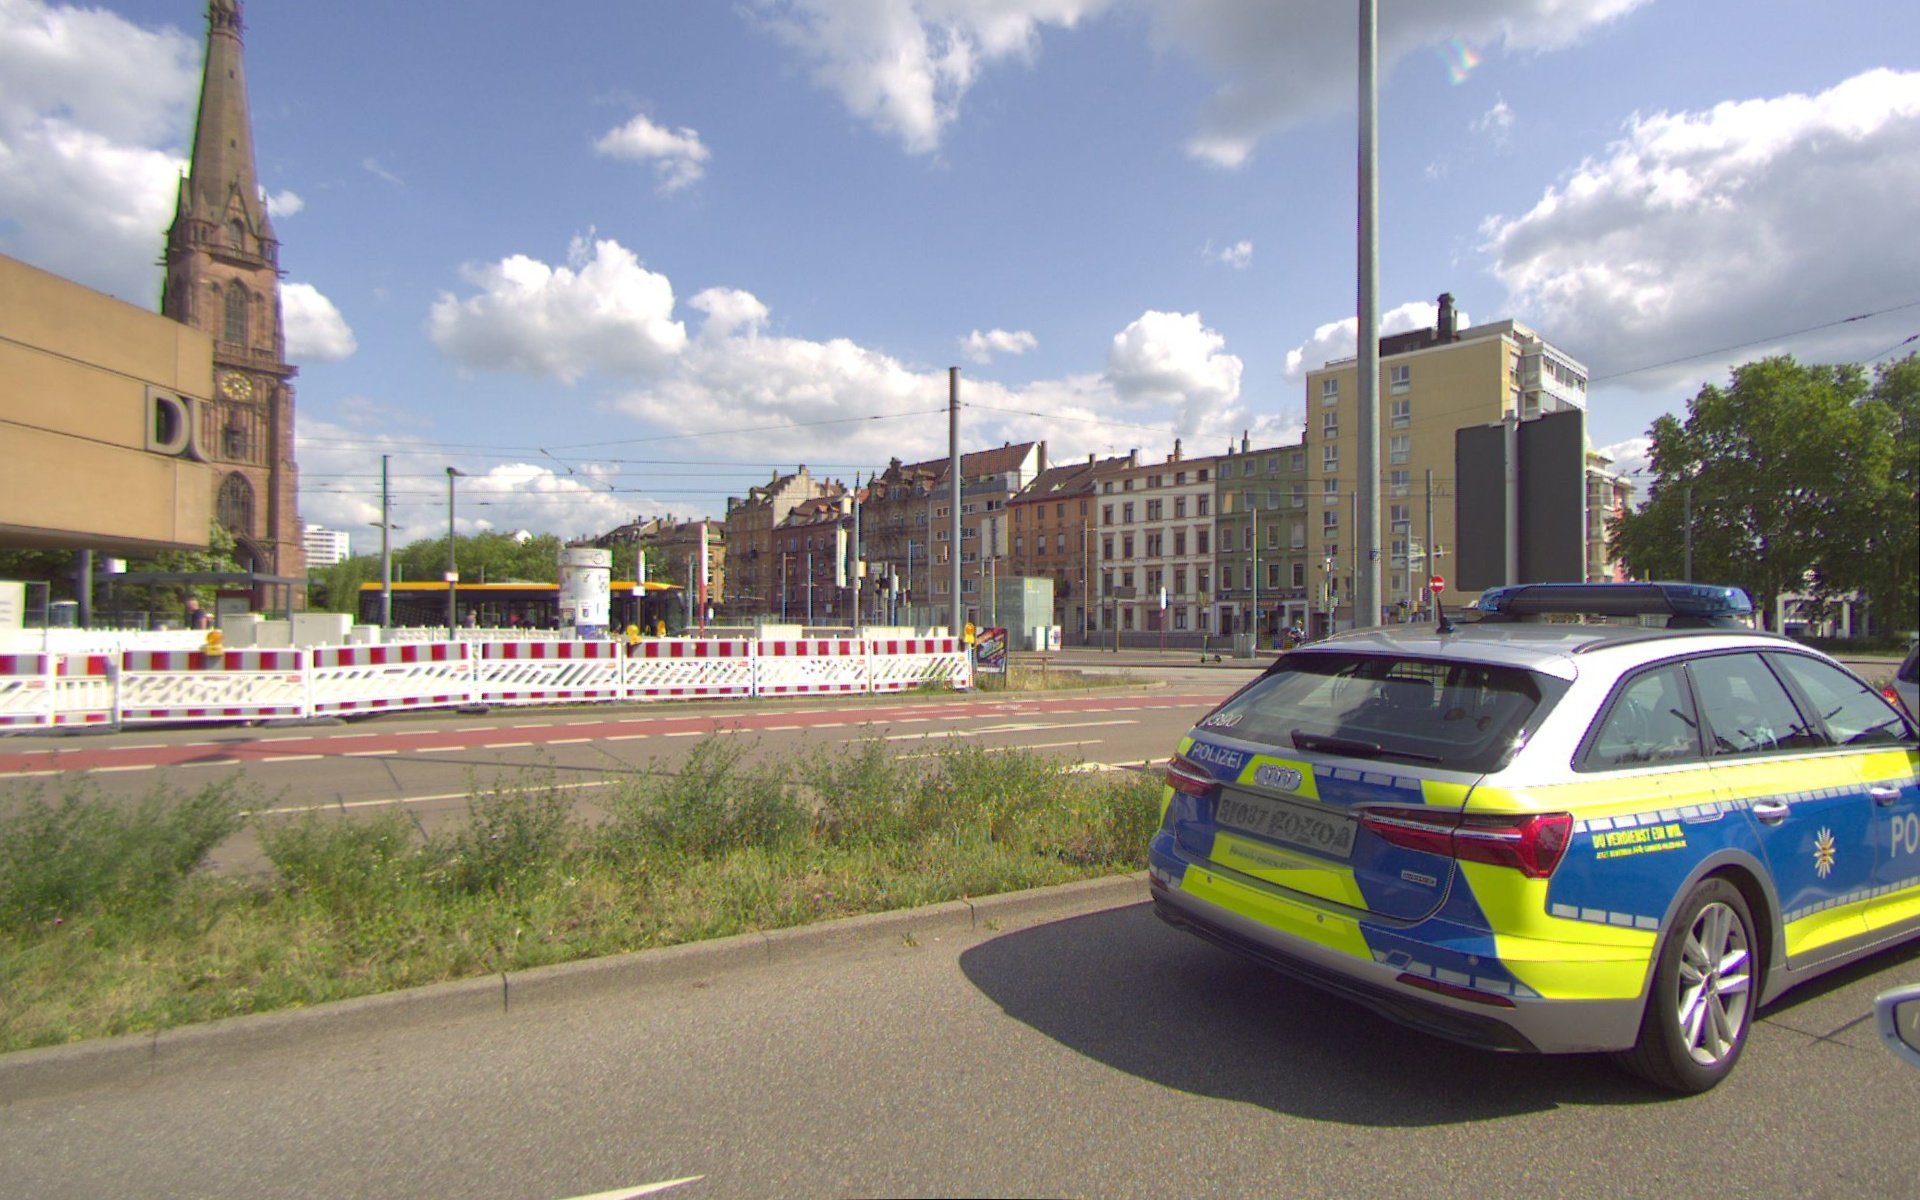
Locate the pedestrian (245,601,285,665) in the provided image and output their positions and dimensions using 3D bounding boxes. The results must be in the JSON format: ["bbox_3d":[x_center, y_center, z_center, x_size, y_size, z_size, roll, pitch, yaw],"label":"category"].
[{"bbox_3d":[-18.347,0.865,26.521,0.549,1.651,0.732,1,-1,-7],"label":"pedestrian"}]

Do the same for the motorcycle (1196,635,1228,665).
[{"bbox_3d":[10.610,2.104,42.334,0.478,1.253,1.437,2,-2,-27],"label":"motorcycle"}]

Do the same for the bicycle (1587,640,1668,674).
[{"bbox_3d":[24.560,2.074,37.020,0.984,1.204,2.281,2,-3,-32],"label":"bicycle"}]

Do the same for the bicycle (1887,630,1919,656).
[{"bbox_3d":[54.438,2.447,57.376,0.807,1.433,2.146,0,0,-44],"label":"bicycle"}]

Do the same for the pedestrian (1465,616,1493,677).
[{"bbox_3d":[16.879,1.505,32.660,0.753,1.928,0.825,2,0,29],"label":"pedestrian"}]

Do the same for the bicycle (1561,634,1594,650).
[{"bbox_3d":[44.779,3.030,72.829,1.922,1.162,0.792,0,-1,43],"label":"bicycle"}]

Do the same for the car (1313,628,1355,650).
[{"bbox_3d":[27.318,2.849,73.557,1.861,1.516,3.902,1,-2,4],"label":"car"}]

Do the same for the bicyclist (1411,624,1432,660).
[{"bbox_3d":[24.471,2.217,53.249,0.768,1.821,0.706,2,0,41],"label":"bicyclist"}]

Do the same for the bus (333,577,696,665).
[{"bbox_3d":[-16.790,0.805,38.421,12.586,3.177,2.835,0,-1,1],"label":"bus"}]

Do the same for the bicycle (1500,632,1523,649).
[{"bbox_3d":[40.701,2.978,74.106,1.791,1.275,0.789,1,-1,-34],"label":"bicycle"}]

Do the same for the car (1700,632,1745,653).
[{"bbox_3d":[55.411,3.114,73.017,3.970,1.432,1.888,4,-4,-42],"label":"car"}]

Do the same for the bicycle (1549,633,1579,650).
[{"bbox_3d":[43.541,2.976,72.409,1.784,1.162,0.792,0,-1,43],"label":"bicycle"}]

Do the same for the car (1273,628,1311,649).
[{"bbox_3d":[25.134,2.913,76.214,1.861,1.516,3.902,1,-2,4],"label":"car"}]

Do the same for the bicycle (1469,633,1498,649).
[{"bbox_3d":[38.599,3.013,74.045,1.783,1.118,0.792,0,-1,42],"label":"bicycle"}]

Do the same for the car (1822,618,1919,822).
[{"bbox_3d":[8.899,0.914,8.057,3.953,1.494,1.839,1,-2,-30],"label":"car"}]

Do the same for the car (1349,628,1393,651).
[{"bbox_3d":[29.672,2.864,72.586,1.861,1.516,3.903,1,-2,5],"label":"car"}]

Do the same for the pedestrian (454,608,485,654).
[{"bbox_3d":[-17.872,1.123,36.592,0.750,1.653,0.653,1,-1,4],"label":"pedestrian"}]

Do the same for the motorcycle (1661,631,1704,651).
[{"bbox_3d":[46.839,2.665,65.159,0.890,1.254,2.214,0,-1,-12],"label":"motorcycle"}]

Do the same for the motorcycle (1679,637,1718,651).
[{"bbox_3d":[50.418,2.976,68.569,2.003,0.929,0.812,-1,-1,7],"label":"motorcycle"}]

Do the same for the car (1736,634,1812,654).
[{"bbox_3d":[59.019,3.180,72.898,1.615,1.344,3.967,3,-3,-31],"label":"car"}]

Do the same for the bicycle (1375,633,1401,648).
[{"bbox_3d":[33.765,3.199,79.235,1.783,1.118,0.792,0,-1,42],"label":"bicycle"}]

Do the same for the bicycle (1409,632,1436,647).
[{"bbox_3d":[35.627,3.030,77.371,1.783,1.118,0.792,0,-1,42],"label":"bicycle"}]

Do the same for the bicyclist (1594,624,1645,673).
[{"bbox_3d":[24.443,1.791,37.223,0.984,1.753,1.290,2,-2,-32],"label":"bicyclist"}]

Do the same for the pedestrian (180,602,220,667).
[{"bbox_3d":[-19.666,0.884,25.990,0.760,1.653,0.645,2,-1,-41],"label":"pedestrian"}]

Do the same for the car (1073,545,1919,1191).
[{"bbox_3d":[2.890,0.720,4.451,4.560,1.589,1.871,1,-2,-30],"label":"car"}]

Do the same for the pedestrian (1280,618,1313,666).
[{"bbox_3d":[13.139,1.633,39.213,1.019,1.821,0.759,2,0,-38],"label":"pedestrian"}]
